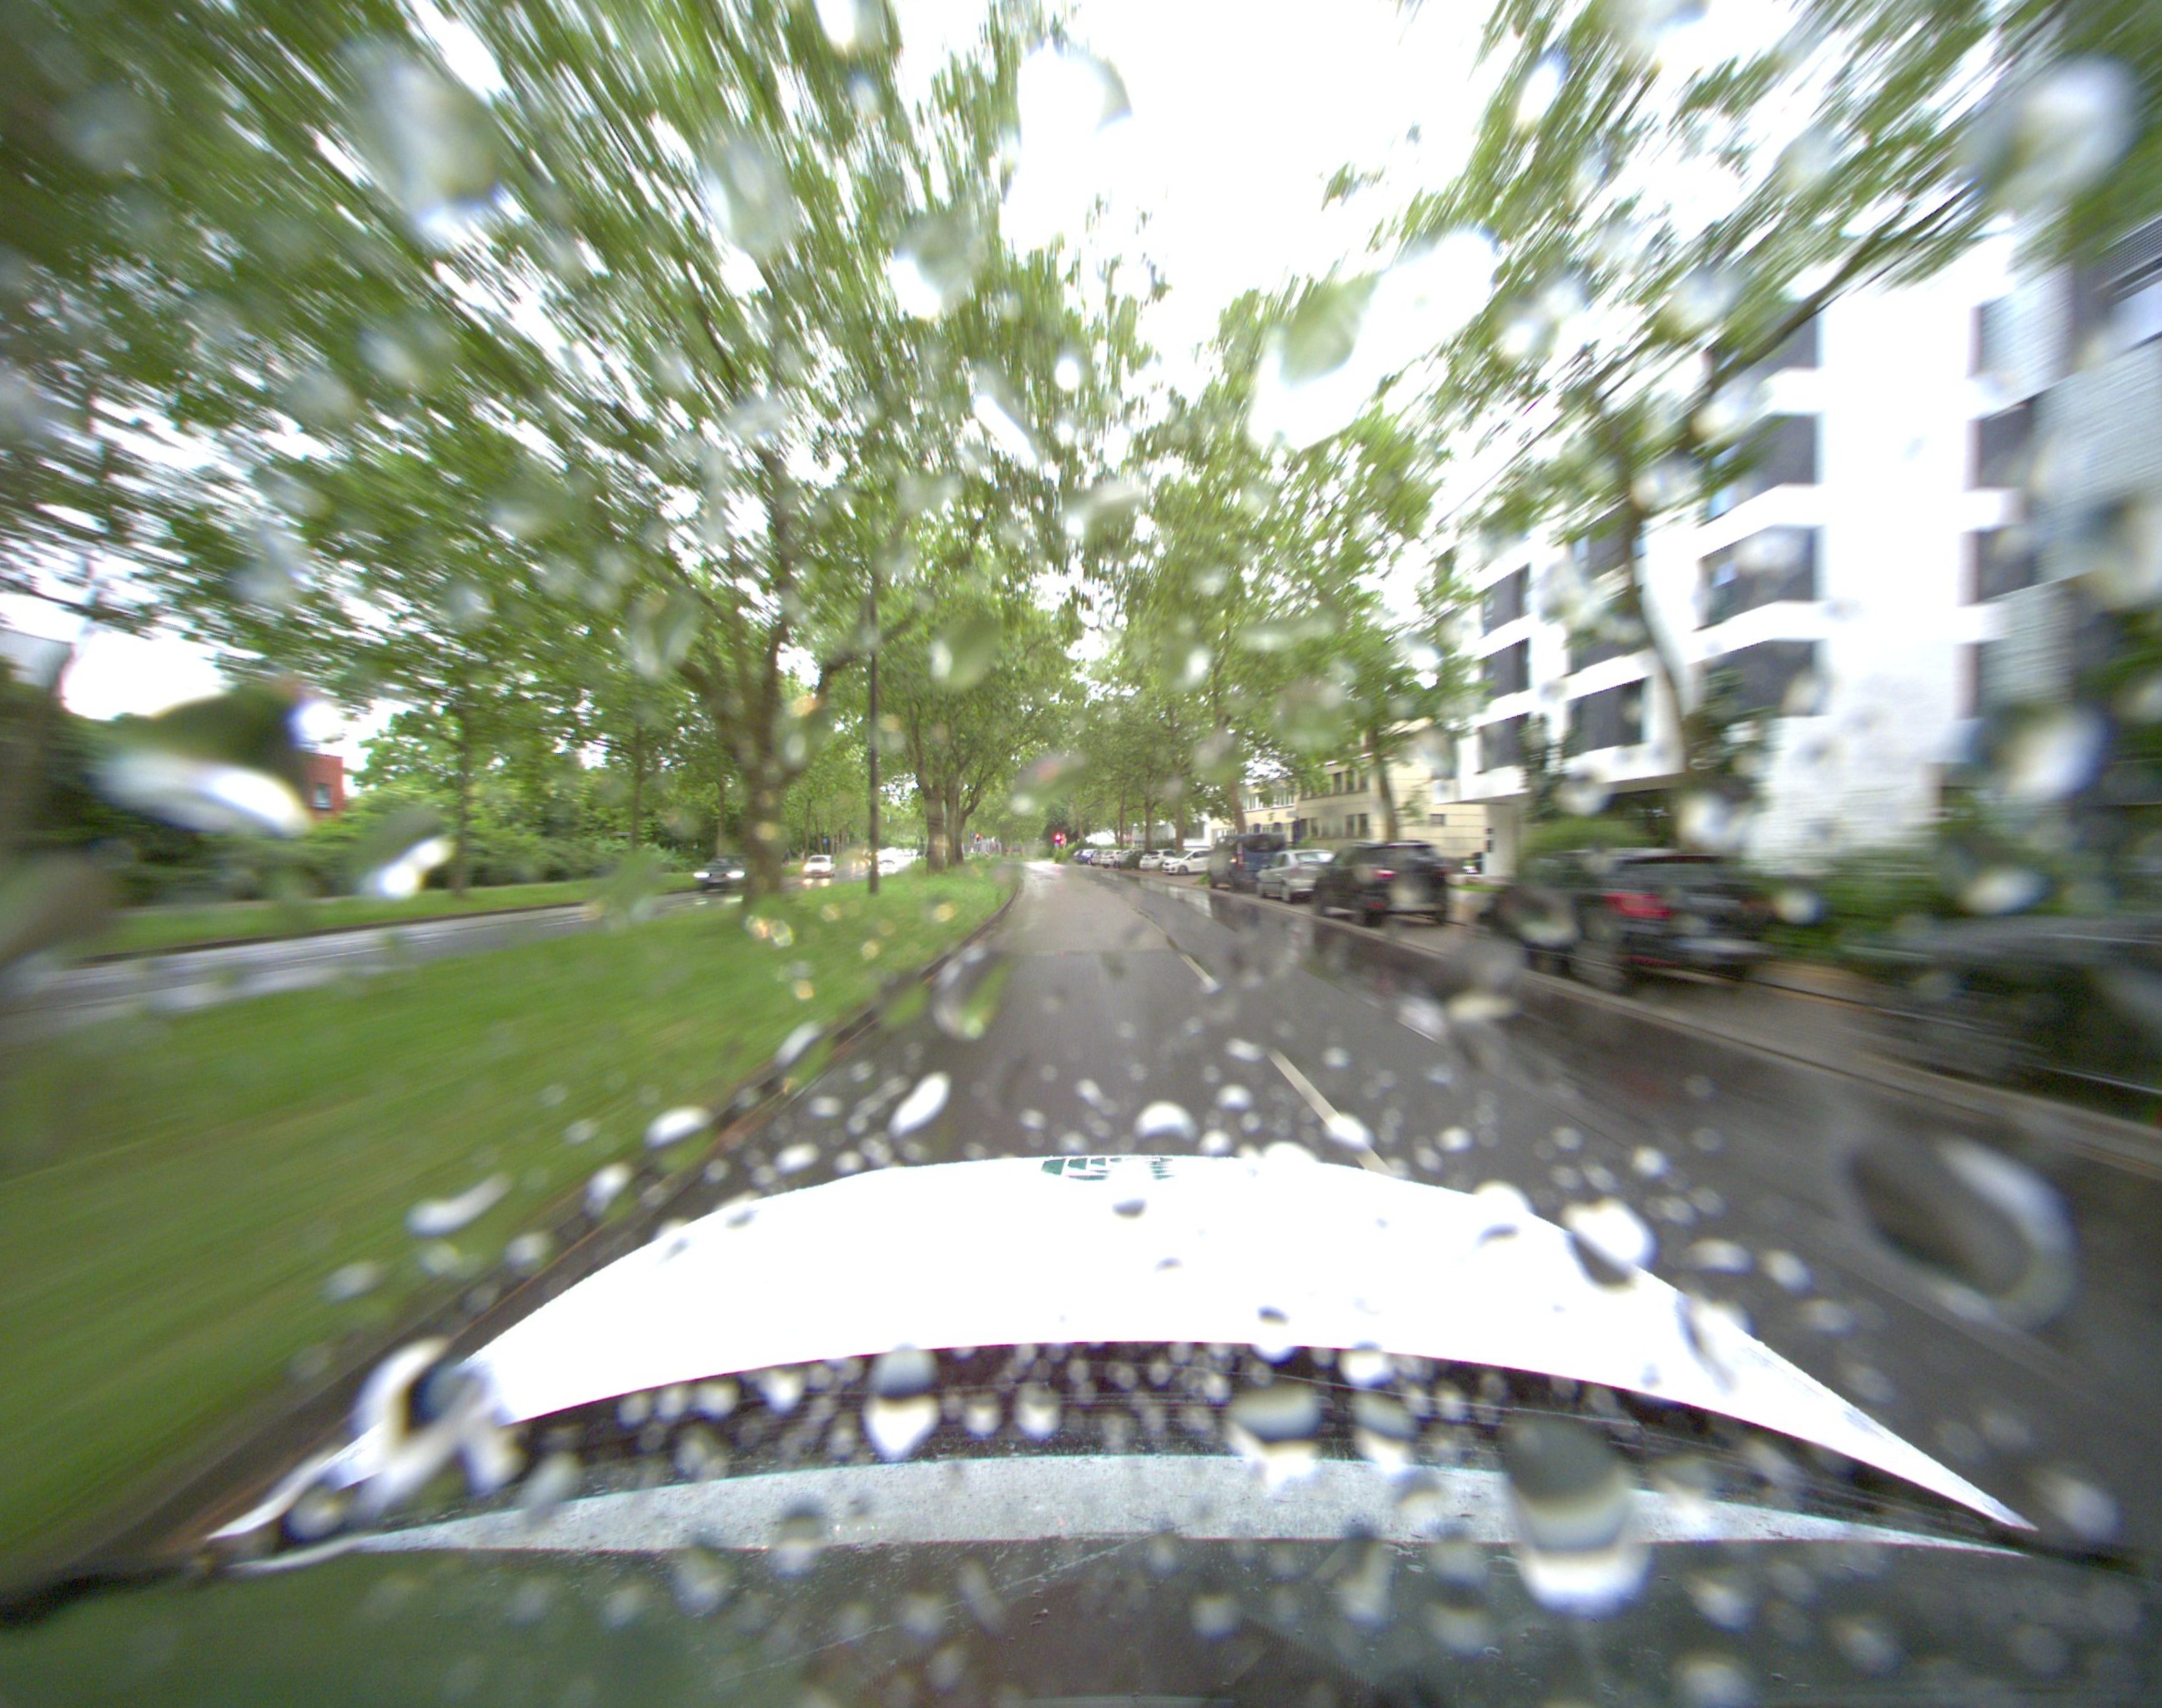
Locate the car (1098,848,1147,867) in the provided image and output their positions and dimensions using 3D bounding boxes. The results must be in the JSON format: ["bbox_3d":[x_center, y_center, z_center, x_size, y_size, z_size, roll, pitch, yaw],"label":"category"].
[{"bbox_3d":[3.343,0.277,65.550,3.707,1.416,1.731,-1,0,-34],"label":"car"}]

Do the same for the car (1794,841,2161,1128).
[{"bbox_3d":[6.240,0.644,3.597,1.738,1.428,5.103,0,0,0],"label":"car"}]

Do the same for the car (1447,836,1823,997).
[{"bbox_3d":[6.049,0.571,9.588,1.737,1.476,4.084,0,0,1],"label":"car"}]

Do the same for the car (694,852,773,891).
[{"bbox_3d":[-14.981,0.707,35.334,1.740,1.561,4.363,0,0,-3],"label":"car"}]

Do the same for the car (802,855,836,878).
[{"bbox_3d":[-17.588,0.798,54.890,1.744,1.459,3.827,0,0,-12],"label":"car"}]

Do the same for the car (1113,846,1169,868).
[{"bbox_3d":[4.499,0.195,60.470,4.058,1.539,1.729,-1,0,-39],"label":"car"}]

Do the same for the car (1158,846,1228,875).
[{"bbox_3d":[6.429,0.356,46.895,3.648,1.504,1.737,-1,1,-21],"label":"car"}]

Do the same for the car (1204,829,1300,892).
[{"bbox_3d":[5.910,0.194,28.883,2.115,2.028,5.524,0,0,-2],"label":"car"}]

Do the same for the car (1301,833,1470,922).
[{"bbox_3d":[6.032,0.408,16.726,1.739,1.566,4.369,0,0,-2],"label":"car"}]

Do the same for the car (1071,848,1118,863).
[{"bbox_3d":[1.345,0.155,80.071,4.513,1.459,1.731,-1,0,-34],"label":"car"}]

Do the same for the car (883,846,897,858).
[{"bbox_3d":[-28.036,-0.289,119.576,1.744,1.591,4.314,0,0,-10],"label":"car"}]

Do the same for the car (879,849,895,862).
[{"bbox_3d":[-23.109,0.185,96.838,1.746,1.476,4.388,0,0,-14],"label":"car"}]

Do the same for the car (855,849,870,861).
[{"bbox_3d":[-31.889,0.153,118.911,1.744,1.591,4.195,-1,2,-11],"label":"car"}]

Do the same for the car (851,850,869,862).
[{"bbox_3d":[-27.887,0.237,103.040,1.743,1.476,4.070,0,0,-9],"label":"car"}]

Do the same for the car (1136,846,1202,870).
[{"bbox_3d":[5.524,0.241,51.102,4.057,1.428,1.729,-1,0,-37],"label":"car"}]

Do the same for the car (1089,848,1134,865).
[{"bbox_3d":[2.675,0.179,71.047,3.710,1.416,1.756,-1,0,-38],"label":"car"}]

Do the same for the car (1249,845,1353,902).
[{"bbox_3d":[6.234,0.503,23.552,1.739,1.469,4.303,0,0,-2],"label":"car"}]

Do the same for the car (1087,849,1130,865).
[{"bbox_3d":[2.524,0.273,74.325,3.710,1.416,1.729,-1,0,-37],"label":"car"}]

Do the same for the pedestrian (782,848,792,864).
[{"bbox_3d":[-30.095,0.200,83.358,0.831,1.674,0.896,-1,0,-13],"label":"pedestrian"}]
